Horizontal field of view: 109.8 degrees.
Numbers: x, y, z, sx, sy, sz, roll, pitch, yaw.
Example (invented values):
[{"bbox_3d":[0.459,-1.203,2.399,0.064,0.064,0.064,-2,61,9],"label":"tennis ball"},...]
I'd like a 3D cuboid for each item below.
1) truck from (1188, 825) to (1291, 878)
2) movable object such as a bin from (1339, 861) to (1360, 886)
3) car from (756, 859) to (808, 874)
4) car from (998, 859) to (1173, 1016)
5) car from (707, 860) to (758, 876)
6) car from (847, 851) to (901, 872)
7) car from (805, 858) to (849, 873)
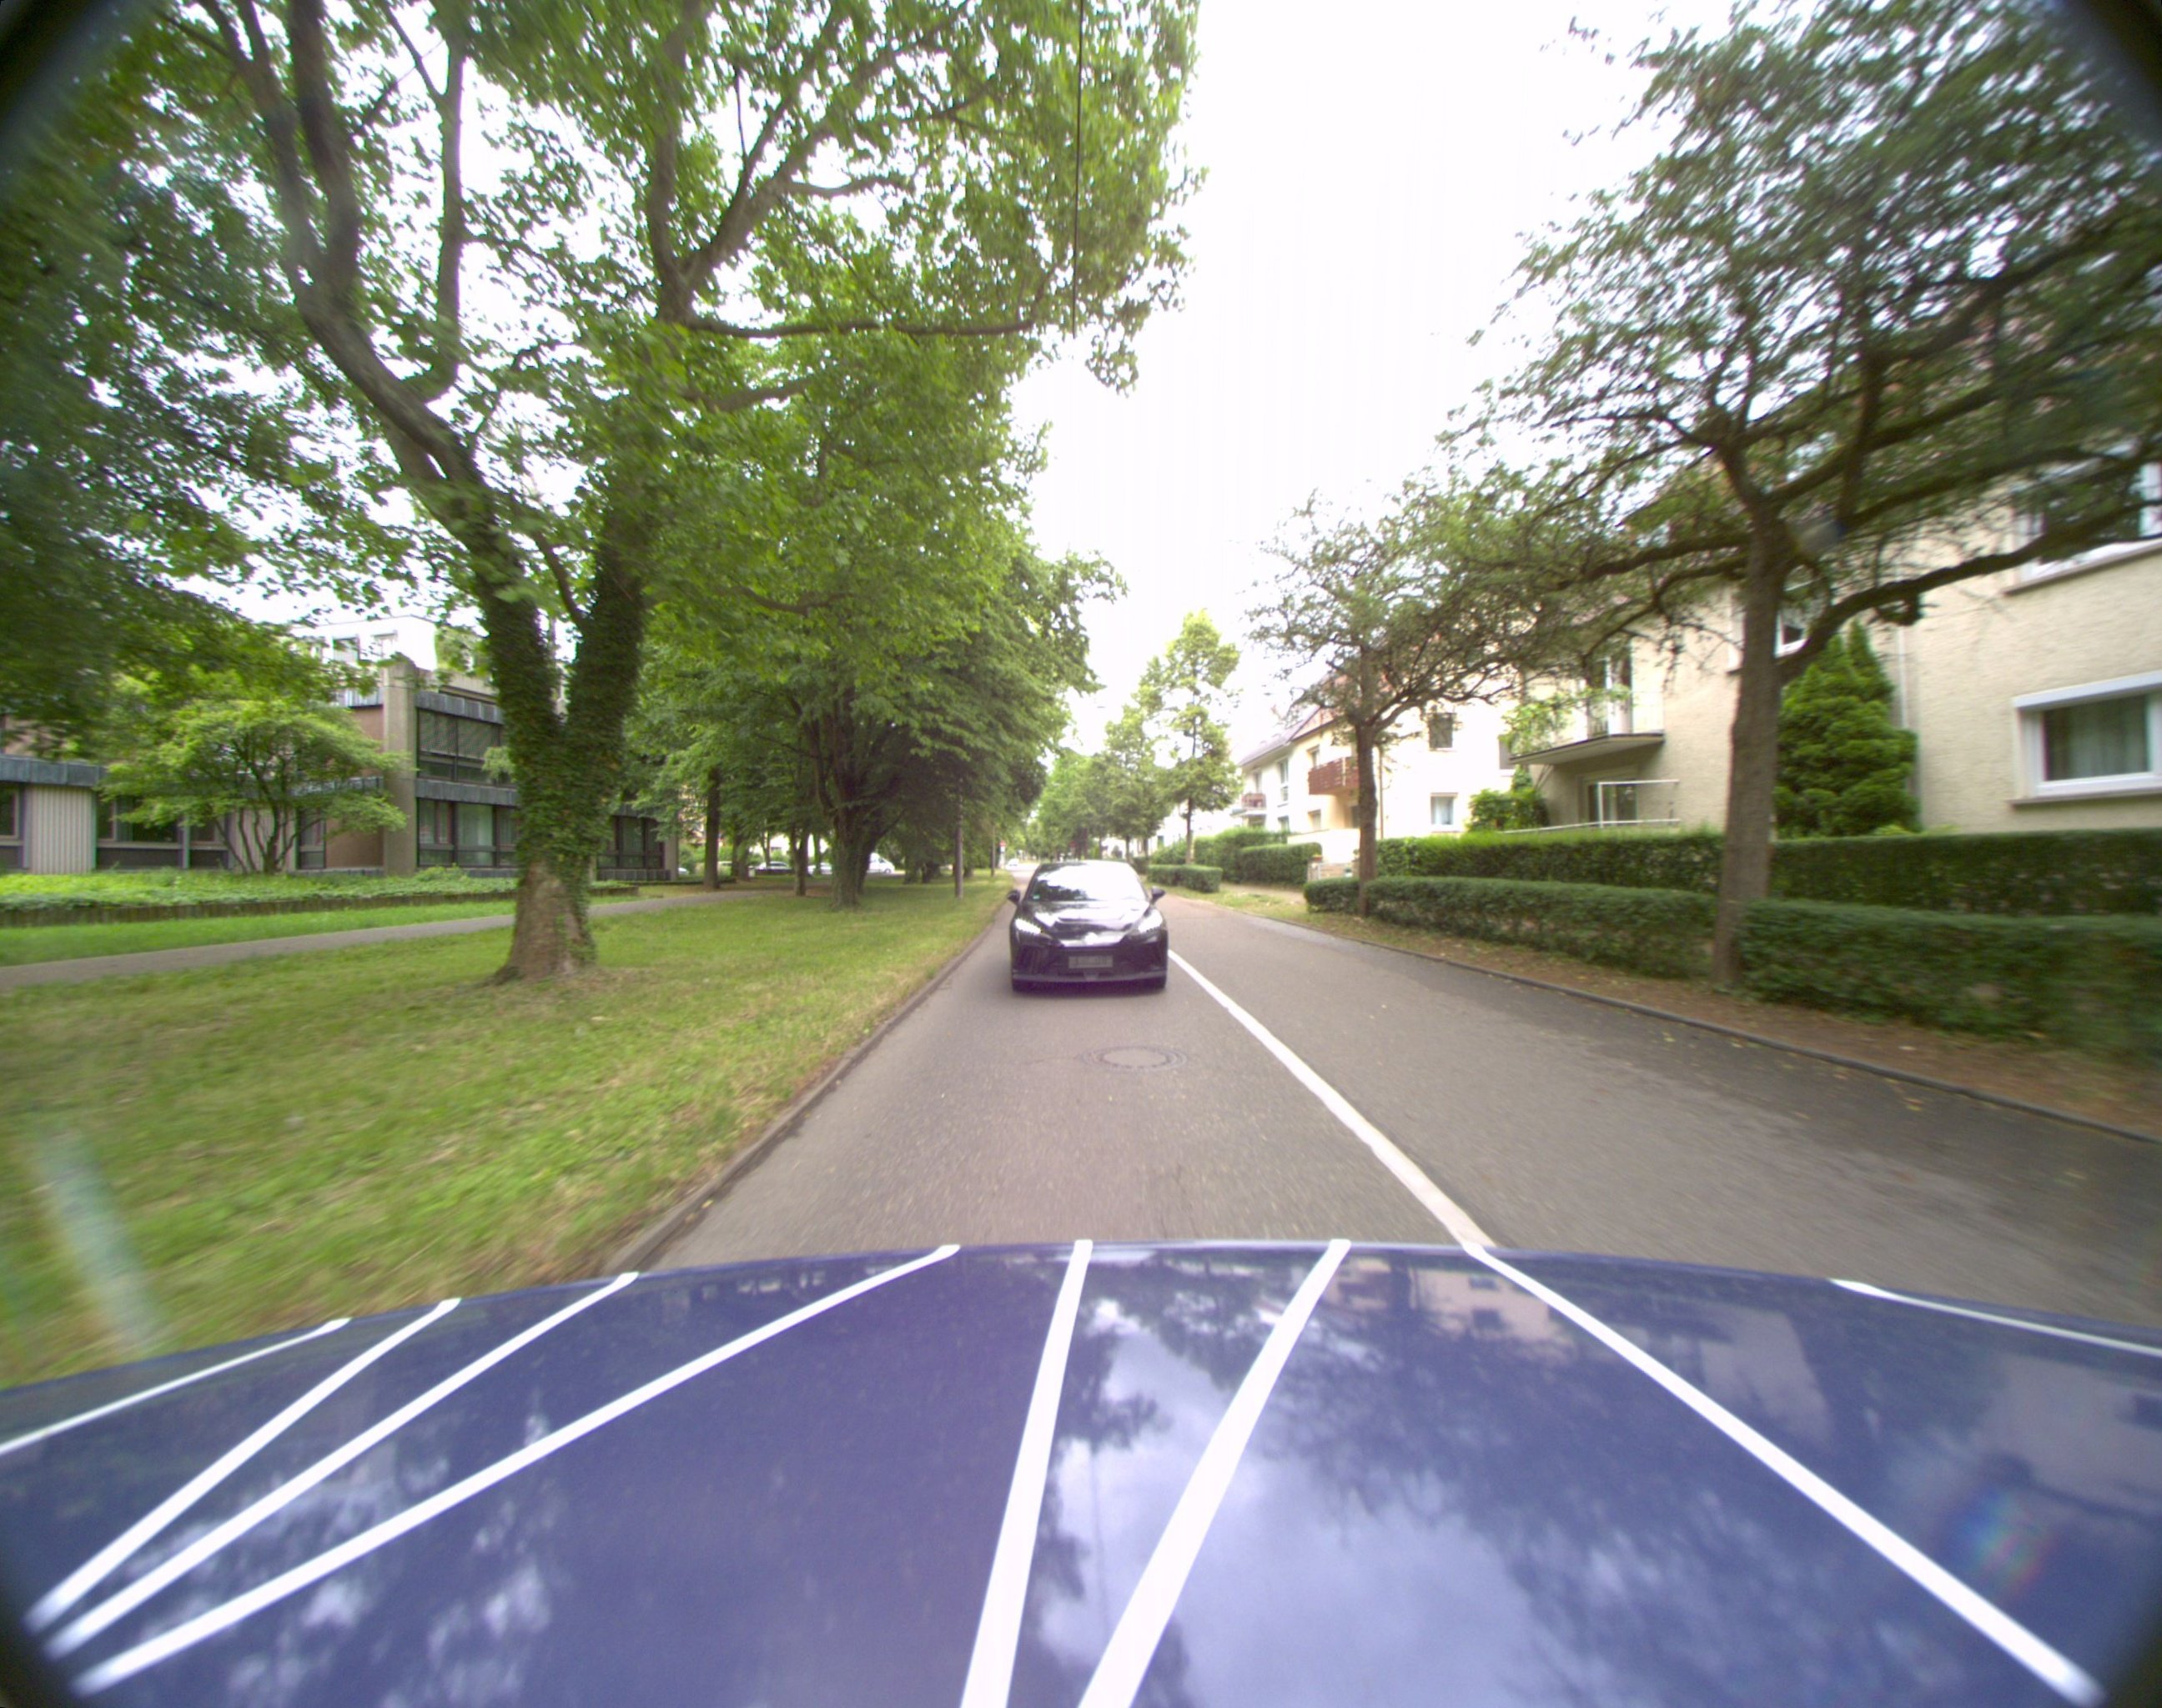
[{"bbox_3d":[9.910,-0.129,47.756,5.813,3.112,2.516,-1,0,-6],"label":"truck"},{"bbox_3d":[9.692,0.700,27.444,0.489,0.906,0.570,0,0,-6],"label":"movable object such as a bin"},{"bbox_3d":[-30.302,1.256,77.026,1.795,1.501,4.613,-1,-1,40],"label":"car"},{"bbox_3d":[0.082,0.902,10.278,1.798,1.552,4.471,-2,0,1],"label":"car"},{"bbox_3d":[-33.463,1.320,72.993,1.795,1.501,4.008,-1,-1,37],"label":"car"},{"bbox_3d":[-22.992,0.818,84.469,5.337,2.285,2.286,-1,-1,-38],"label":"car"},{"bbox_3d":[-26.956,1.243,80.741,4.008,1.501,1.795,0,-1,-44],"label":"car"}]
